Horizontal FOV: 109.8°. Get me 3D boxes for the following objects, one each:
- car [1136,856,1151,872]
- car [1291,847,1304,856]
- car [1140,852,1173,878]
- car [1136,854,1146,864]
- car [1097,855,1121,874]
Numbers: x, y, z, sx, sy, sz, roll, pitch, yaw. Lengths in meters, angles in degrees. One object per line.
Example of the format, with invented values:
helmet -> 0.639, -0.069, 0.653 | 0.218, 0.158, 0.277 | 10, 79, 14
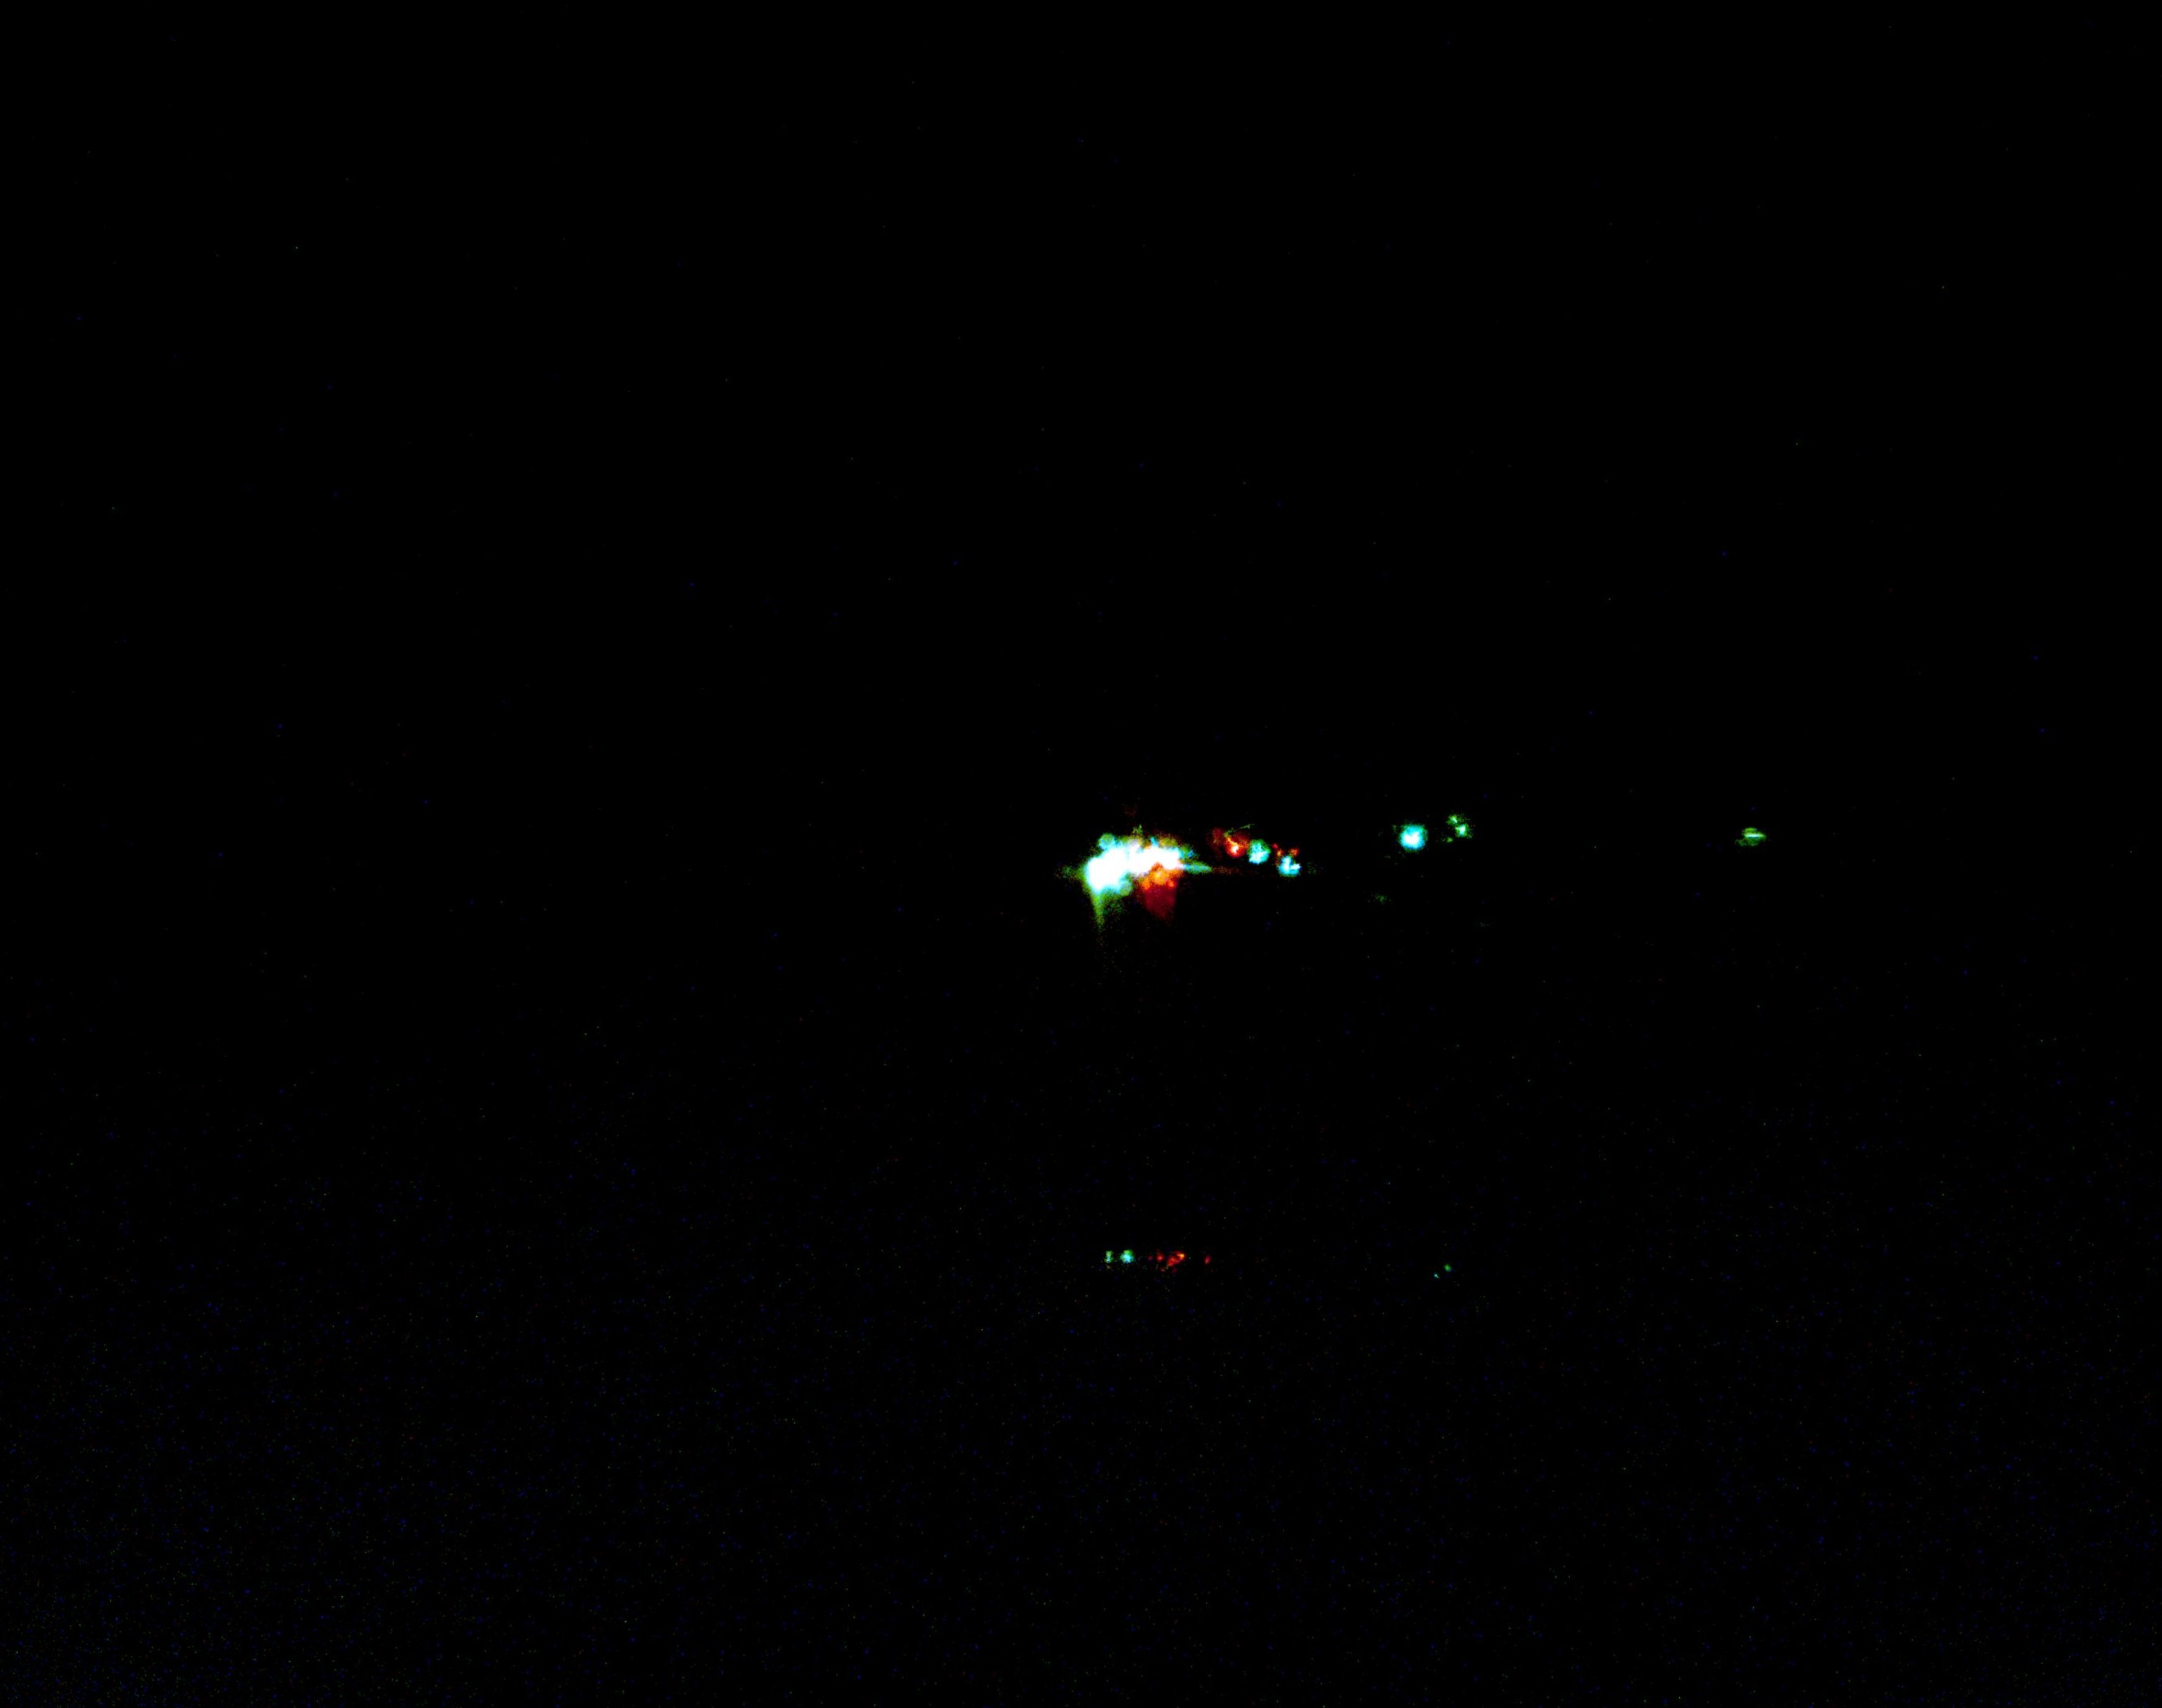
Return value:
car -> 7.051, 1.142, 85.562 | 1.487, 1.606, 3.561 | -4, 0, 3
car -> 53.339, -0.583, 187.330 | 1.997, 2.294, 6.025 | -2, 0, 8
car -> 5.133, 0.728, 52.119 | 1.931, 1.693, 4.001 | -2, 0, 2
car -> 10.692, 0.908, 135.060 | 1.658, 1.673, 4.522 | -2, 0, 4
car -> 2.699, 0.984, 72.290 | 1.877, 1.578, 4.891 | -2, 0, 6
